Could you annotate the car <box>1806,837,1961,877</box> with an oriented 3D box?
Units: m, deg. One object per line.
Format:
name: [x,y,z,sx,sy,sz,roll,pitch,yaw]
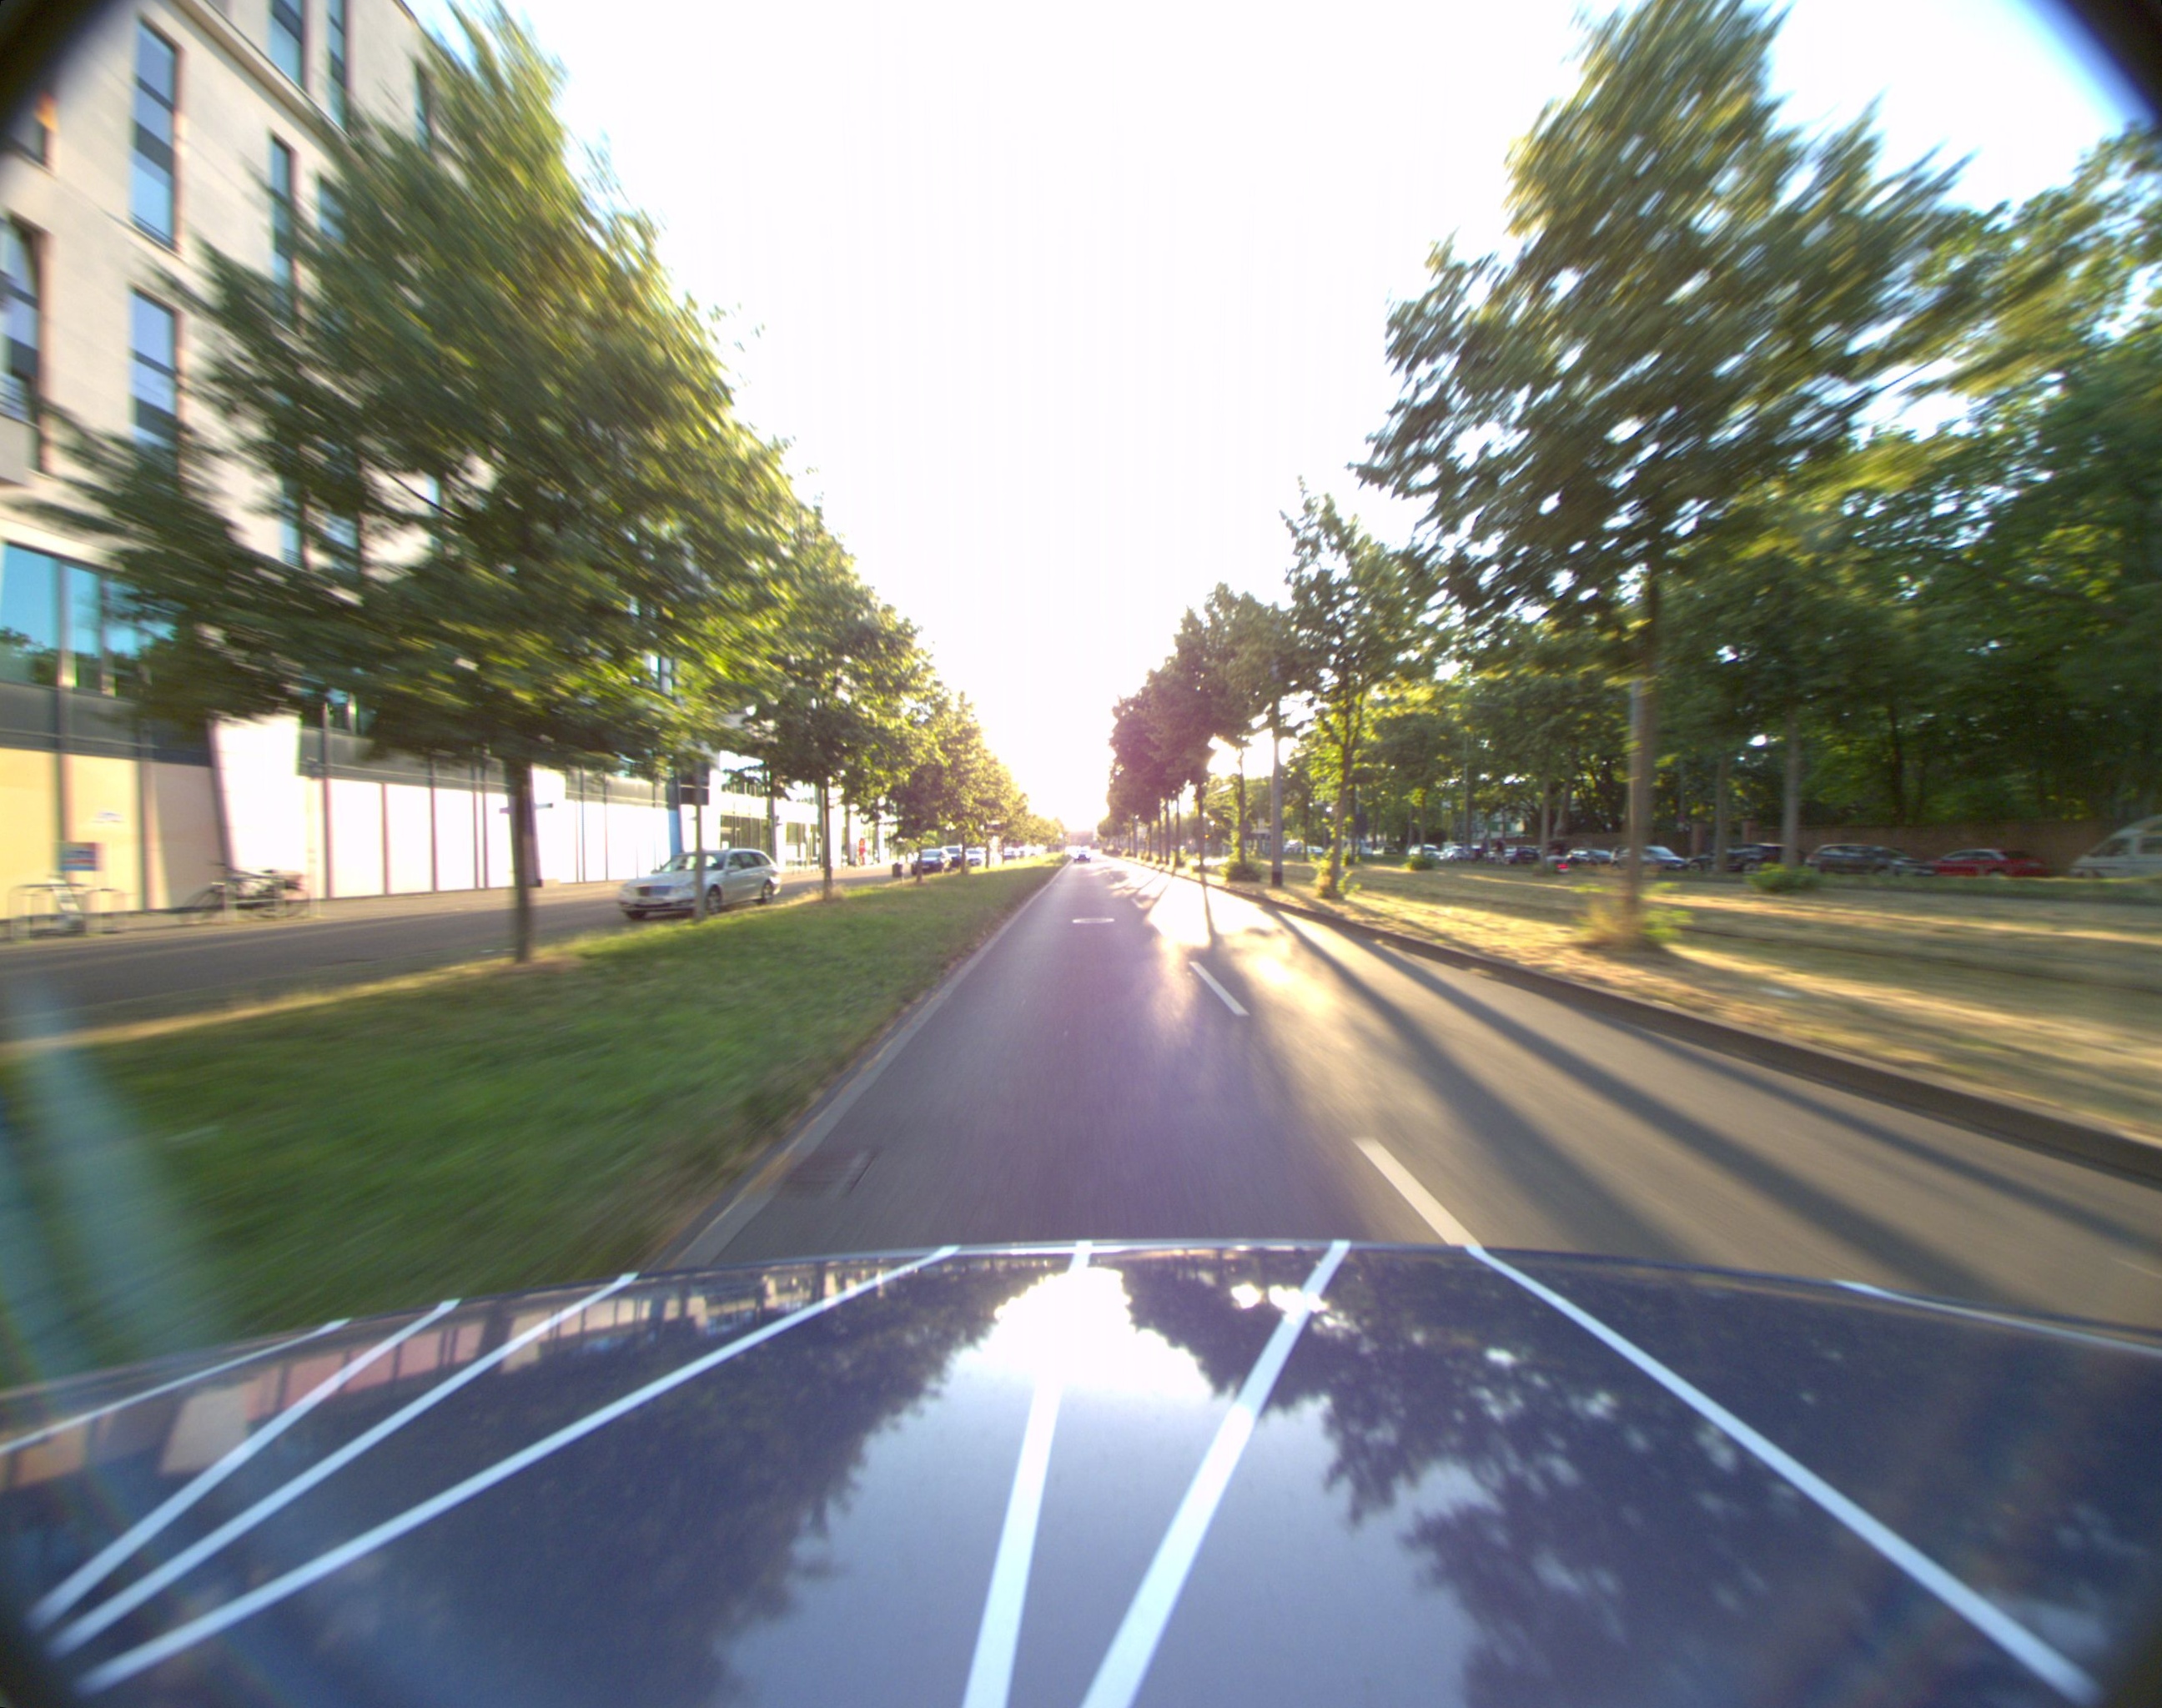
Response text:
car: [31.855,0.077,30.356,1.998,1.477,3.999,-1,1,1]

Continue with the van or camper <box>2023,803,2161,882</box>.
van or camper: [38.309,-0.411,27.258,2.090,2.720,5.493,0,1,-1]

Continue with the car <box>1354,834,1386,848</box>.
car: [33.333,-1.518,87.700,1.999,1.627,4.208,0,1,-1]

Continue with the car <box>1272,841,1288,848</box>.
car: [37.243,-1.760,142.523,1.998,1.194,4.089,-1,1,2]

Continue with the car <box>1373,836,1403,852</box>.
car: [32.327,-1.018,80.089,1.997,1.630,4.002,0,1,7]

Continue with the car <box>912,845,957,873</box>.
car: [-8.464,0.230,44.222,1.728,1.492,4.232,-2,1,1]

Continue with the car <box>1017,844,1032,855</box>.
car: [-8.015,-0.658,108.025,1.754,1.390,3.999,-2,1,-1]

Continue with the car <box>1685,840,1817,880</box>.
car: [31.387,0.211,35.832,1.999,1.740,4.789,0,1,0]

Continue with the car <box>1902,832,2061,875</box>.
car: [38.364,-0.056,32.546,1.999,1.740,3.999,0,1,0]

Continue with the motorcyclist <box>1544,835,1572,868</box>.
motorcyclist: [19.902,-0.122,31.711,0.683,1.368,0.804,0,1,-1]

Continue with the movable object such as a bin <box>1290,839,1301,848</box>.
movable object such as a bin: [35.271,-1.686,124.907,1.412,1.403,1.701,-1,1,2]

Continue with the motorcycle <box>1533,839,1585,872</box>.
motorcycle: [19.906,0.034,31.712,0.683,1.329,2.344,0,1,0]

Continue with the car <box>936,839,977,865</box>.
car: [-8.391,-0.177,51.595,1.958,1.614,4.819,-3,1,0]

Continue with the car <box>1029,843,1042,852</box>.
car: [-8.119,-1.123,135.451,1.924,1.492,5.410,-1,1,0]

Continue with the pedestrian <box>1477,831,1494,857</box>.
pedestrian: [27.402,-0.652,51.494,0.695,1.733,0.866,0,2,-2]

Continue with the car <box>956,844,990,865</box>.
car: [-8.266,0.011,58.753,1.926,1.492,5.008,-1,1,-1]

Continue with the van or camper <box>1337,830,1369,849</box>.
van or camper: [33.963,-1.796,95.034,2.289,2.351,5.784,-1,1,5]

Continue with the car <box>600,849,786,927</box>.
car: [-8.633,0.654,17.484,1.813,1.492,4.824,-1,1,-1]

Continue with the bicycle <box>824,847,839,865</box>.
bicycle: [-15.578,0.122,47.487,0.534,1.054,1.611,-1,1,-5]

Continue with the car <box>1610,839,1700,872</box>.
car: [31.272,0.044,41.556,1.998,1.740,4.161,0,1,5]

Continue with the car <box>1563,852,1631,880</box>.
car: [31.696,0.703,46.795,1.807,1.551,3.838,0,1,6]

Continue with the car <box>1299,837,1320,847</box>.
car: [35.289,-1.848,117.344,1.998,1.492,4.299,-1,1,2]

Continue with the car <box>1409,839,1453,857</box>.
car: [31.506,-0.559,68.548,1.998,1.490,4.556,0,1,1]

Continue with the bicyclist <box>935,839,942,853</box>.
bicyclist: [-16.090,-0.897,85.744,0.545,1.560,1.020,-1,1,3]

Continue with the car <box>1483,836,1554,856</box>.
car: [30.039,-0.570,52.403,1.998,1.307,5.141,0,1,1]

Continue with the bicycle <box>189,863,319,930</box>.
bicycle: [-15.757,0.781,14.550,0.539,1.157,1.781,1,1,1]

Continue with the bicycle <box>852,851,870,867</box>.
bicycle: [-15.362,0.349,53.154,0.621,1.027,2.260,0,1,-1]

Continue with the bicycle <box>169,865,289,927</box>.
bicycle: [-16.206,0.773,14.520,0.535,1.055,1.854,1,1,-12]

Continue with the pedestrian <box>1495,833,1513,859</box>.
pedestrian: [28.647,-0.560,51.442,0.695,1.749,0.865,-1,2,-7]

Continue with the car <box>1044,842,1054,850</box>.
car: [-6.412,-1.629,150.523,1.813,1.492,4.478,-1,1,-1]

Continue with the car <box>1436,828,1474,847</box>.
car: [42.195,-1.821,85.832,1.998,2.002,5.059,-1,1,4]

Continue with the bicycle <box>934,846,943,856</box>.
bicycle: [-16.092,-0.323,85.759,0.544,1.112,1.913,-1,1,3]

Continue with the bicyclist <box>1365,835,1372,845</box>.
bicyclist: [42.054,-2.045,111.091,0.730,1.524,1.086,0,1,6]

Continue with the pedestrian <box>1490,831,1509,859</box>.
pedestrian: [27.976,-0.586,50.773,0.695,1.860,0.865,-1,2,-7]

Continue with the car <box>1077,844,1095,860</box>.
car: [0.509,-0.261,79.627,1.828,1.625,3.999,-1,1,-1]

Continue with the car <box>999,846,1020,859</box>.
car: [-8.468,-0.210,89.835,1.812,1.492,4.369,1,1,4]

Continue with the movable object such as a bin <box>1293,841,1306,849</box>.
movable object such as a bin: [35.033,-1.443,121.990,1.556,1.364,1.724,-1,1,2]

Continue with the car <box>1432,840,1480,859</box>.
car: [31.108,-0.386,63.180,1.904,1.491,4.306,0,1,1]
